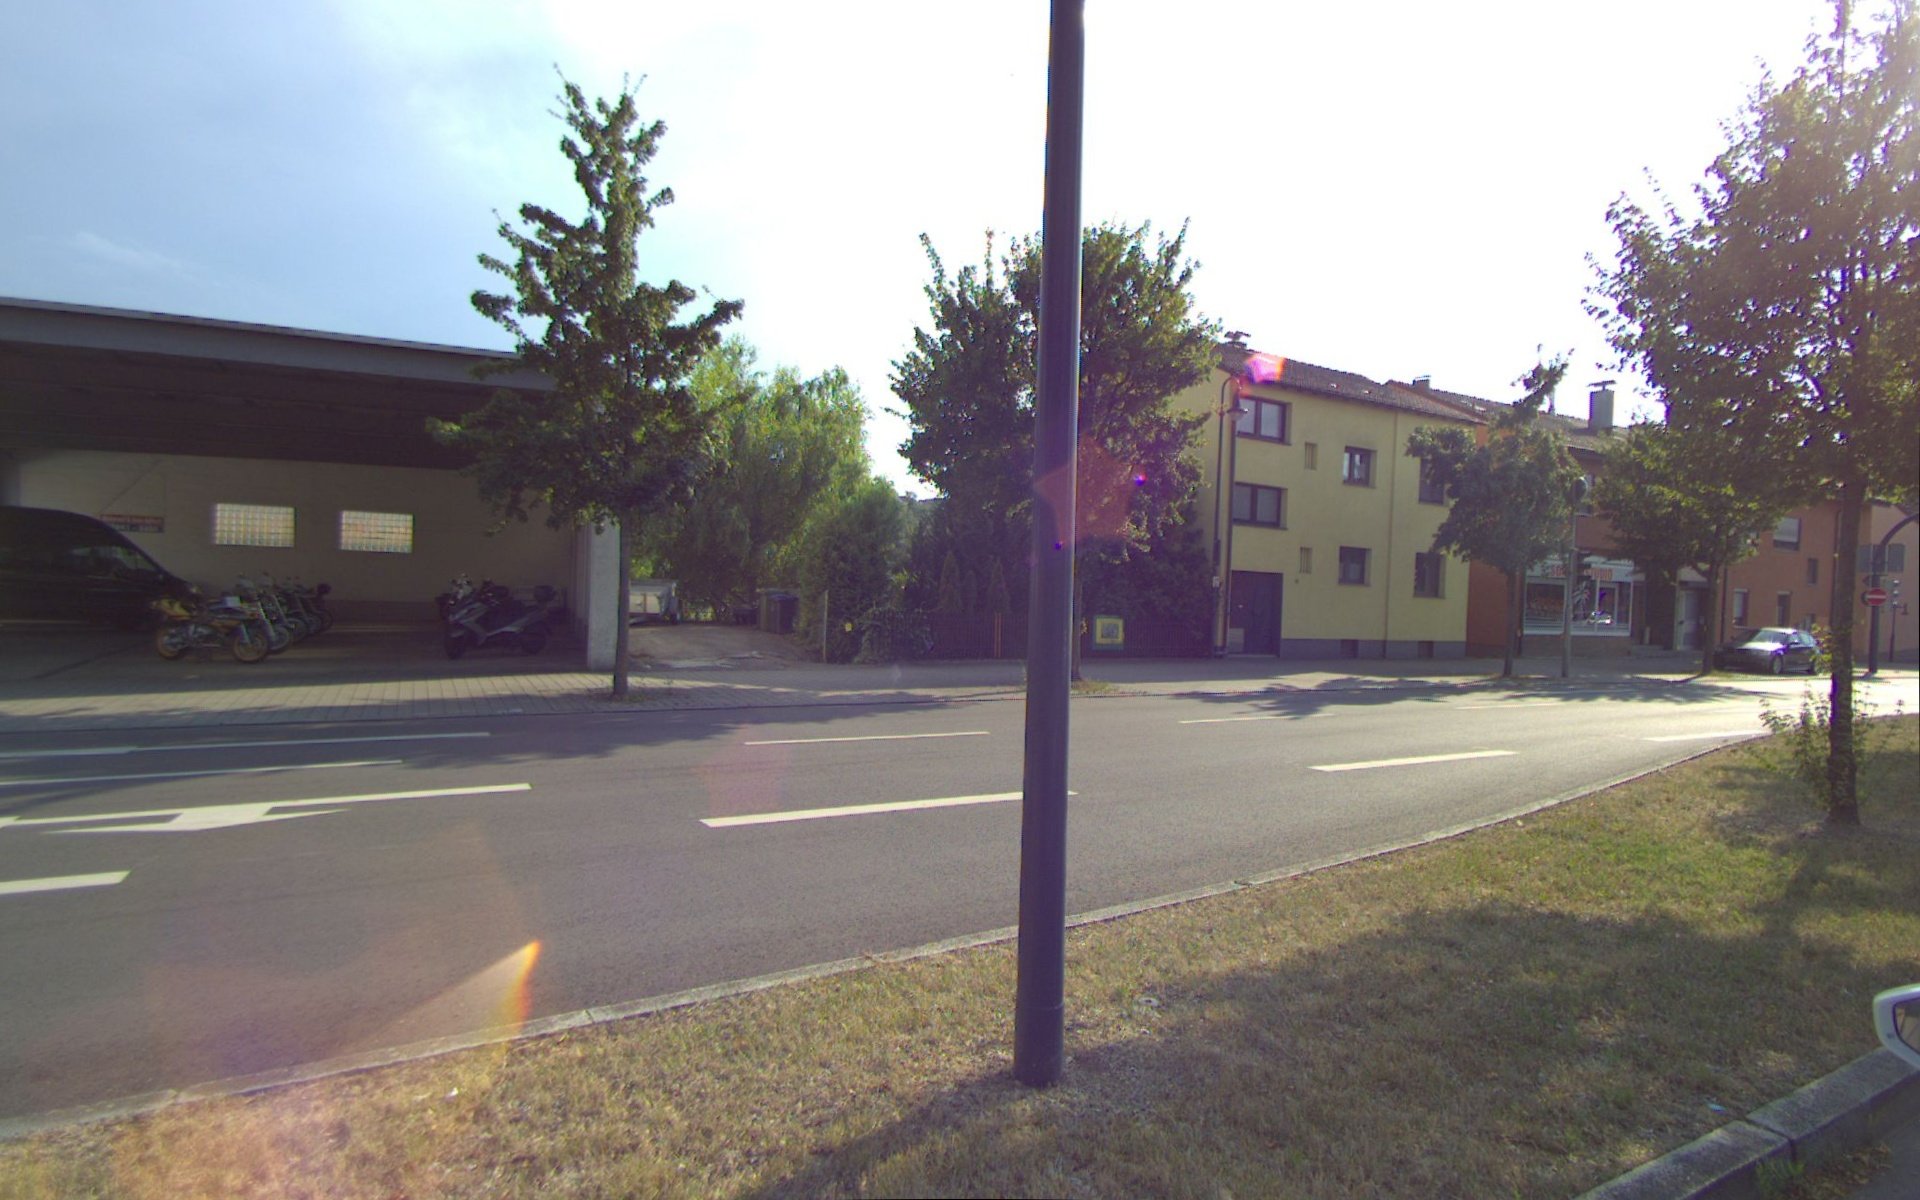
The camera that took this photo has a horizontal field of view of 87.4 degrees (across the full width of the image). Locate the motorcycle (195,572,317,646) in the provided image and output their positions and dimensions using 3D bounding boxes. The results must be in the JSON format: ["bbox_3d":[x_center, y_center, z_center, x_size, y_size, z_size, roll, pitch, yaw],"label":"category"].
[{"bbox_3d":[-14.711,0.186,21.006,2.111,1.468,0.594,1,0,0],"label":"motorcycle"}]

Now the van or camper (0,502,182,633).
[{"bbox_3d":[-20.444,-0.683,21.965,1.963,2.716,5.032,1,0,27],"label":"van or camper"}]

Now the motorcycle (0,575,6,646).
[{"bbox_3d":[-18.637,0.183,18.097,0.637,1.329,2.007,1,0,23],"label":"motorcycle"}]

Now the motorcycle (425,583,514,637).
[{"bbox_3d":[-12.569,0.268,25.800,0.553,1.325,2.086,1,0,30],"label":"motorcycle"}]

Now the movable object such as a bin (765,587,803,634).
[{"bbox_3d":[-4.341,0.265,24.816,0.688,1.101,0.727,1,3,-30],"label":"movable object such as a bin"}]

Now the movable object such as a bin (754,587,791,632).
[{"bbox_3d":[-4.782,0.236,25.588,0.712,1.101,0.727,1,3,-30],"label":"movable object such as a bin"}]

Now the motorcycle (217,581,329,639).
[{"bbox_3d":[-15.832,0.221,23.177,2.111,1.275,0.647,1,0,0],"label":"motorcycle"}]

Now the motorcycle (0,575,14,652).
[{"bbox_3d":[-17.242,0.217,16.769,0.637,1.329,2.007,1,0,23],"label":"motorcycle"}]

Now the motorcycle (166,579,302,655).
[{"bbox_3d":[-13.547,0.321,18.774,2.111,1.347,0.563,1,0,0],"label":"motorcycle"}]

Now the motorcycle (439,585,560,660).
[{"bbox_3d":[-8.629,0.416,18.918,0.553,1.325,2.112,1,0,30],"label":"motorcycle"}]

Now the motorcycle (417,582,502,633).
[{"bbox_3d":[-13.511,0.203,27.167,0.553,1.325,2.086,1,0,30],"label":"motorcycle"}]

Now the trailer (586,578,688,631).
[{"bbox_3d":[-8.116,0.064,25.523,1.692,1.199,3.594,1,1,-5],"label":"trailer"}]

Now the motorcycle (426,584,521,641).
[{"bbox_3d":[-11.815,0.308,24.465,0.573,1.325,2.086,1,0,30],"label":"motorcycle"}]

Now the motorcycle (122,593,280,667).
[{"bbox_3d":[-12.510,0.488,16.596,2.111,1.139,0.631,1,0,0],"label":"motorcycle"}]

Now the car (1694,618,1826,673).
[{"bbox_3d":[25.980,1.461,32.612,3.949,1.573,1.836,1,2,-27],"label":"car"}]

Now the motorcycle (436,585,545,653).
[{"bbox_3d":[-9.668,0.392,20.779,0.553,1.325,2.086,1,0,30],"label":"motorcycle"}]

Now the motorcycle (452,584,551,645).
[{"bbox_3d":[-10.479,0.335,23.045,0.612,1.325,2.086,1,0,30],"label":"motorcycle"}]

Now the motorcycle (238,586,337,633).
[{"bbox_3d":[-17.069,0.233,25.525,2.111,1.138,0.563,1,0,0],"label":"motorcycle"}]
